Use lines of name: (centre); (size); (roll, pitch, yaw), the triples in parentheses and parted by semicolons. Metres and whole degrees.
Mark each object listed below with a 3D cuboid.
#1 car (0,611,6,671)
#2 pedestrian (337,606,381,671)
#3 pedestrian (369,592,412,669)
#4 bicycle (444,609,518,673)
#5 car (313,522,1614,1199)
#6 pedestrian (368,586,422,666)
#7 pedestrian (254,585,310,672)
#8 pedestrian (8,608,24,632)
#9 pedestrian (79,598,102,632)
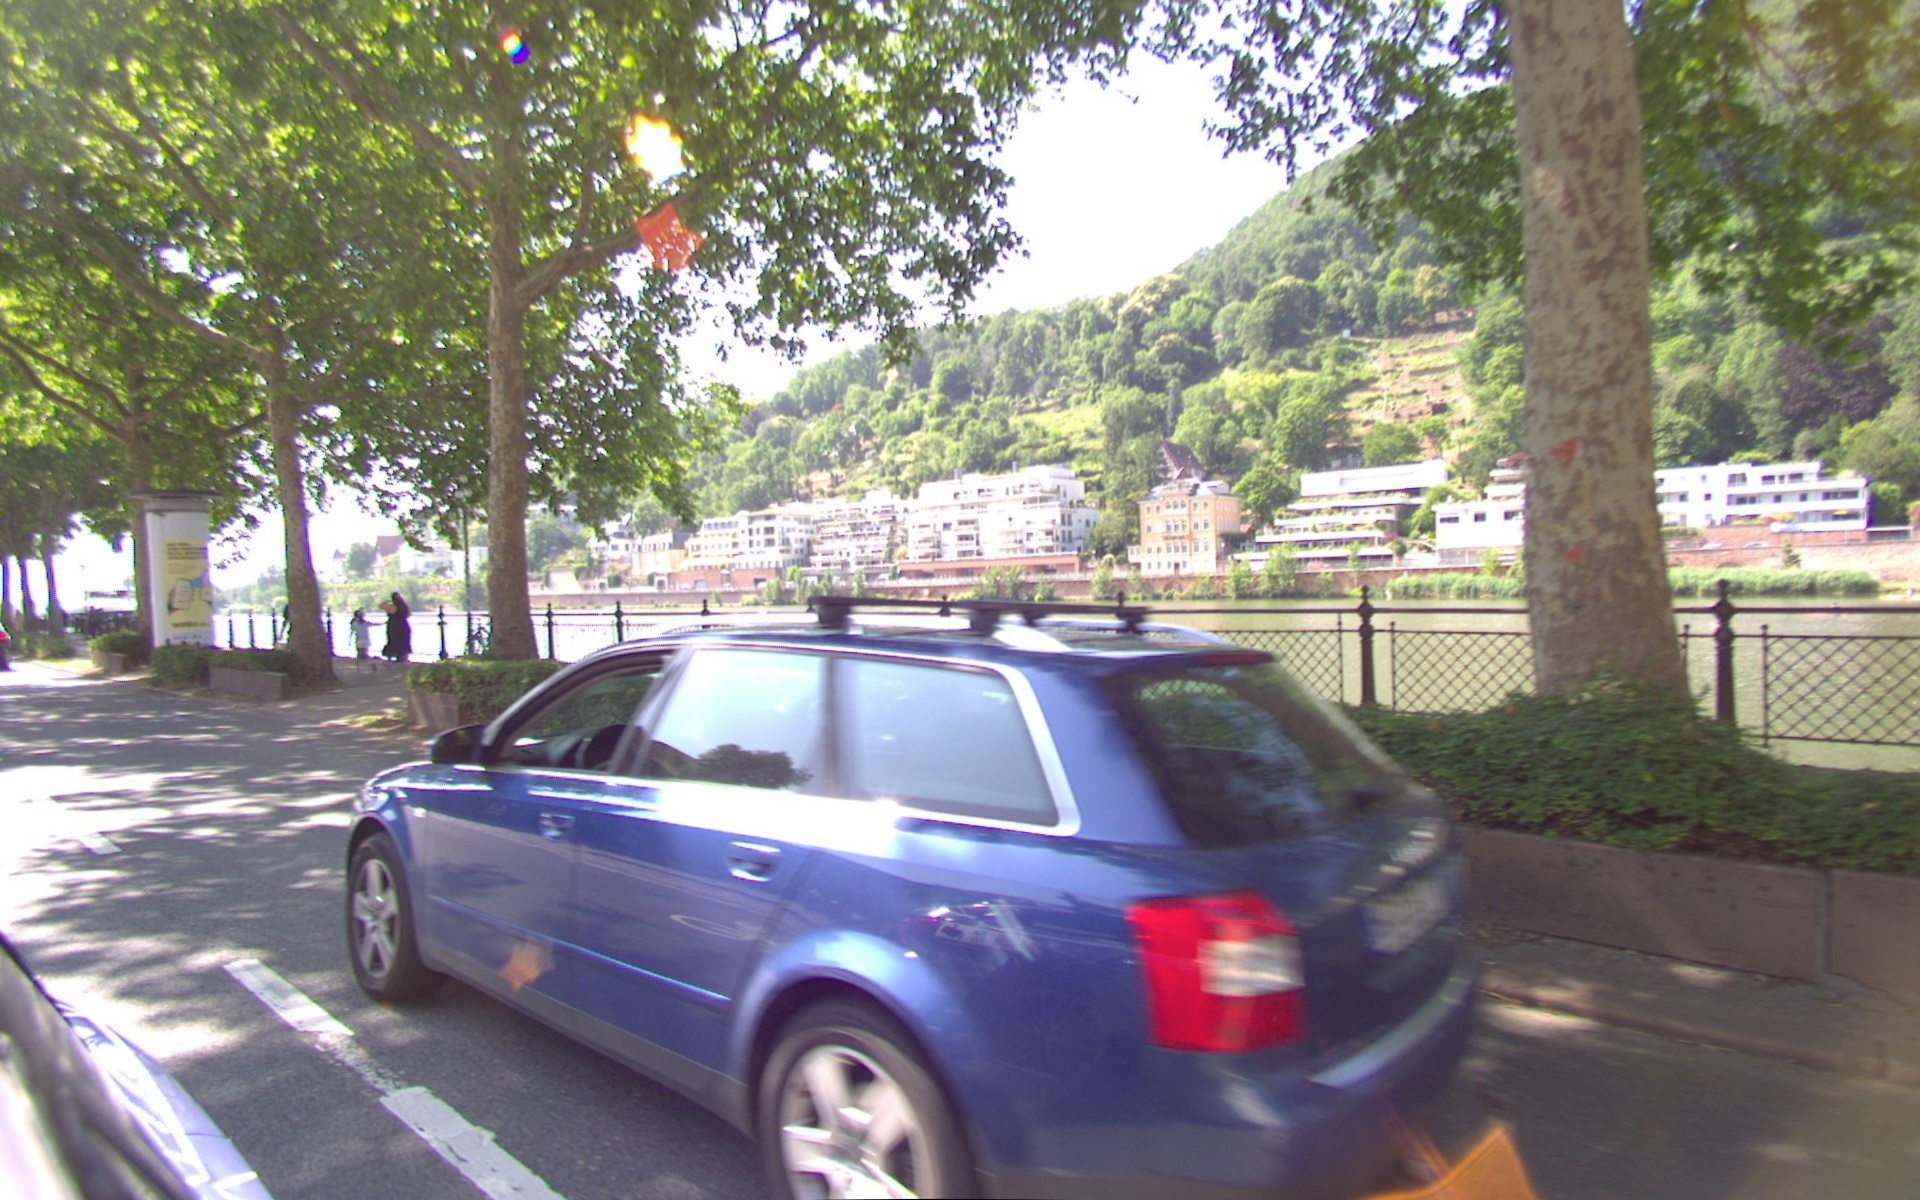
car: (-29.376, 1.214, 29.532); (4.743, 1.683, 1.851); (-2, 0, 42)
pedestrian: (-12.801, 0.807, 21.567); (0.552, 1.329, 0.625); (-1, 1, 40)
pedestrian: (-12.376, 0.650, 21.984); (0.552, 1.640, 0.625); (-1, 1, 40)
bicycle: (-9.412, 0.775, 19.850); (1.843, 1.161, 0.557); (-1, 3, 41)
car: (-0.542, 0.694, 3.409); (4.404, 1.529, 1.682); (0, -2, 43)
pedestrian: (-12.318, 0.551, 22.065); (0.709, 1.696, 0.783); (-1, 1, 41)
pedestrian: (-14.040, 0.577, 20.957); (0.729, 1.743, 0.750); (-1, 1, 41)
pedestrian: (-68.028, 1.447, 72.945); (0.730, 1.719, 0.750); (-1, 0, 43)
pedestrian: (-44.868, 0.749, 52.243); (0.729, 1.719, 0.750); (-1, 1, 41)
